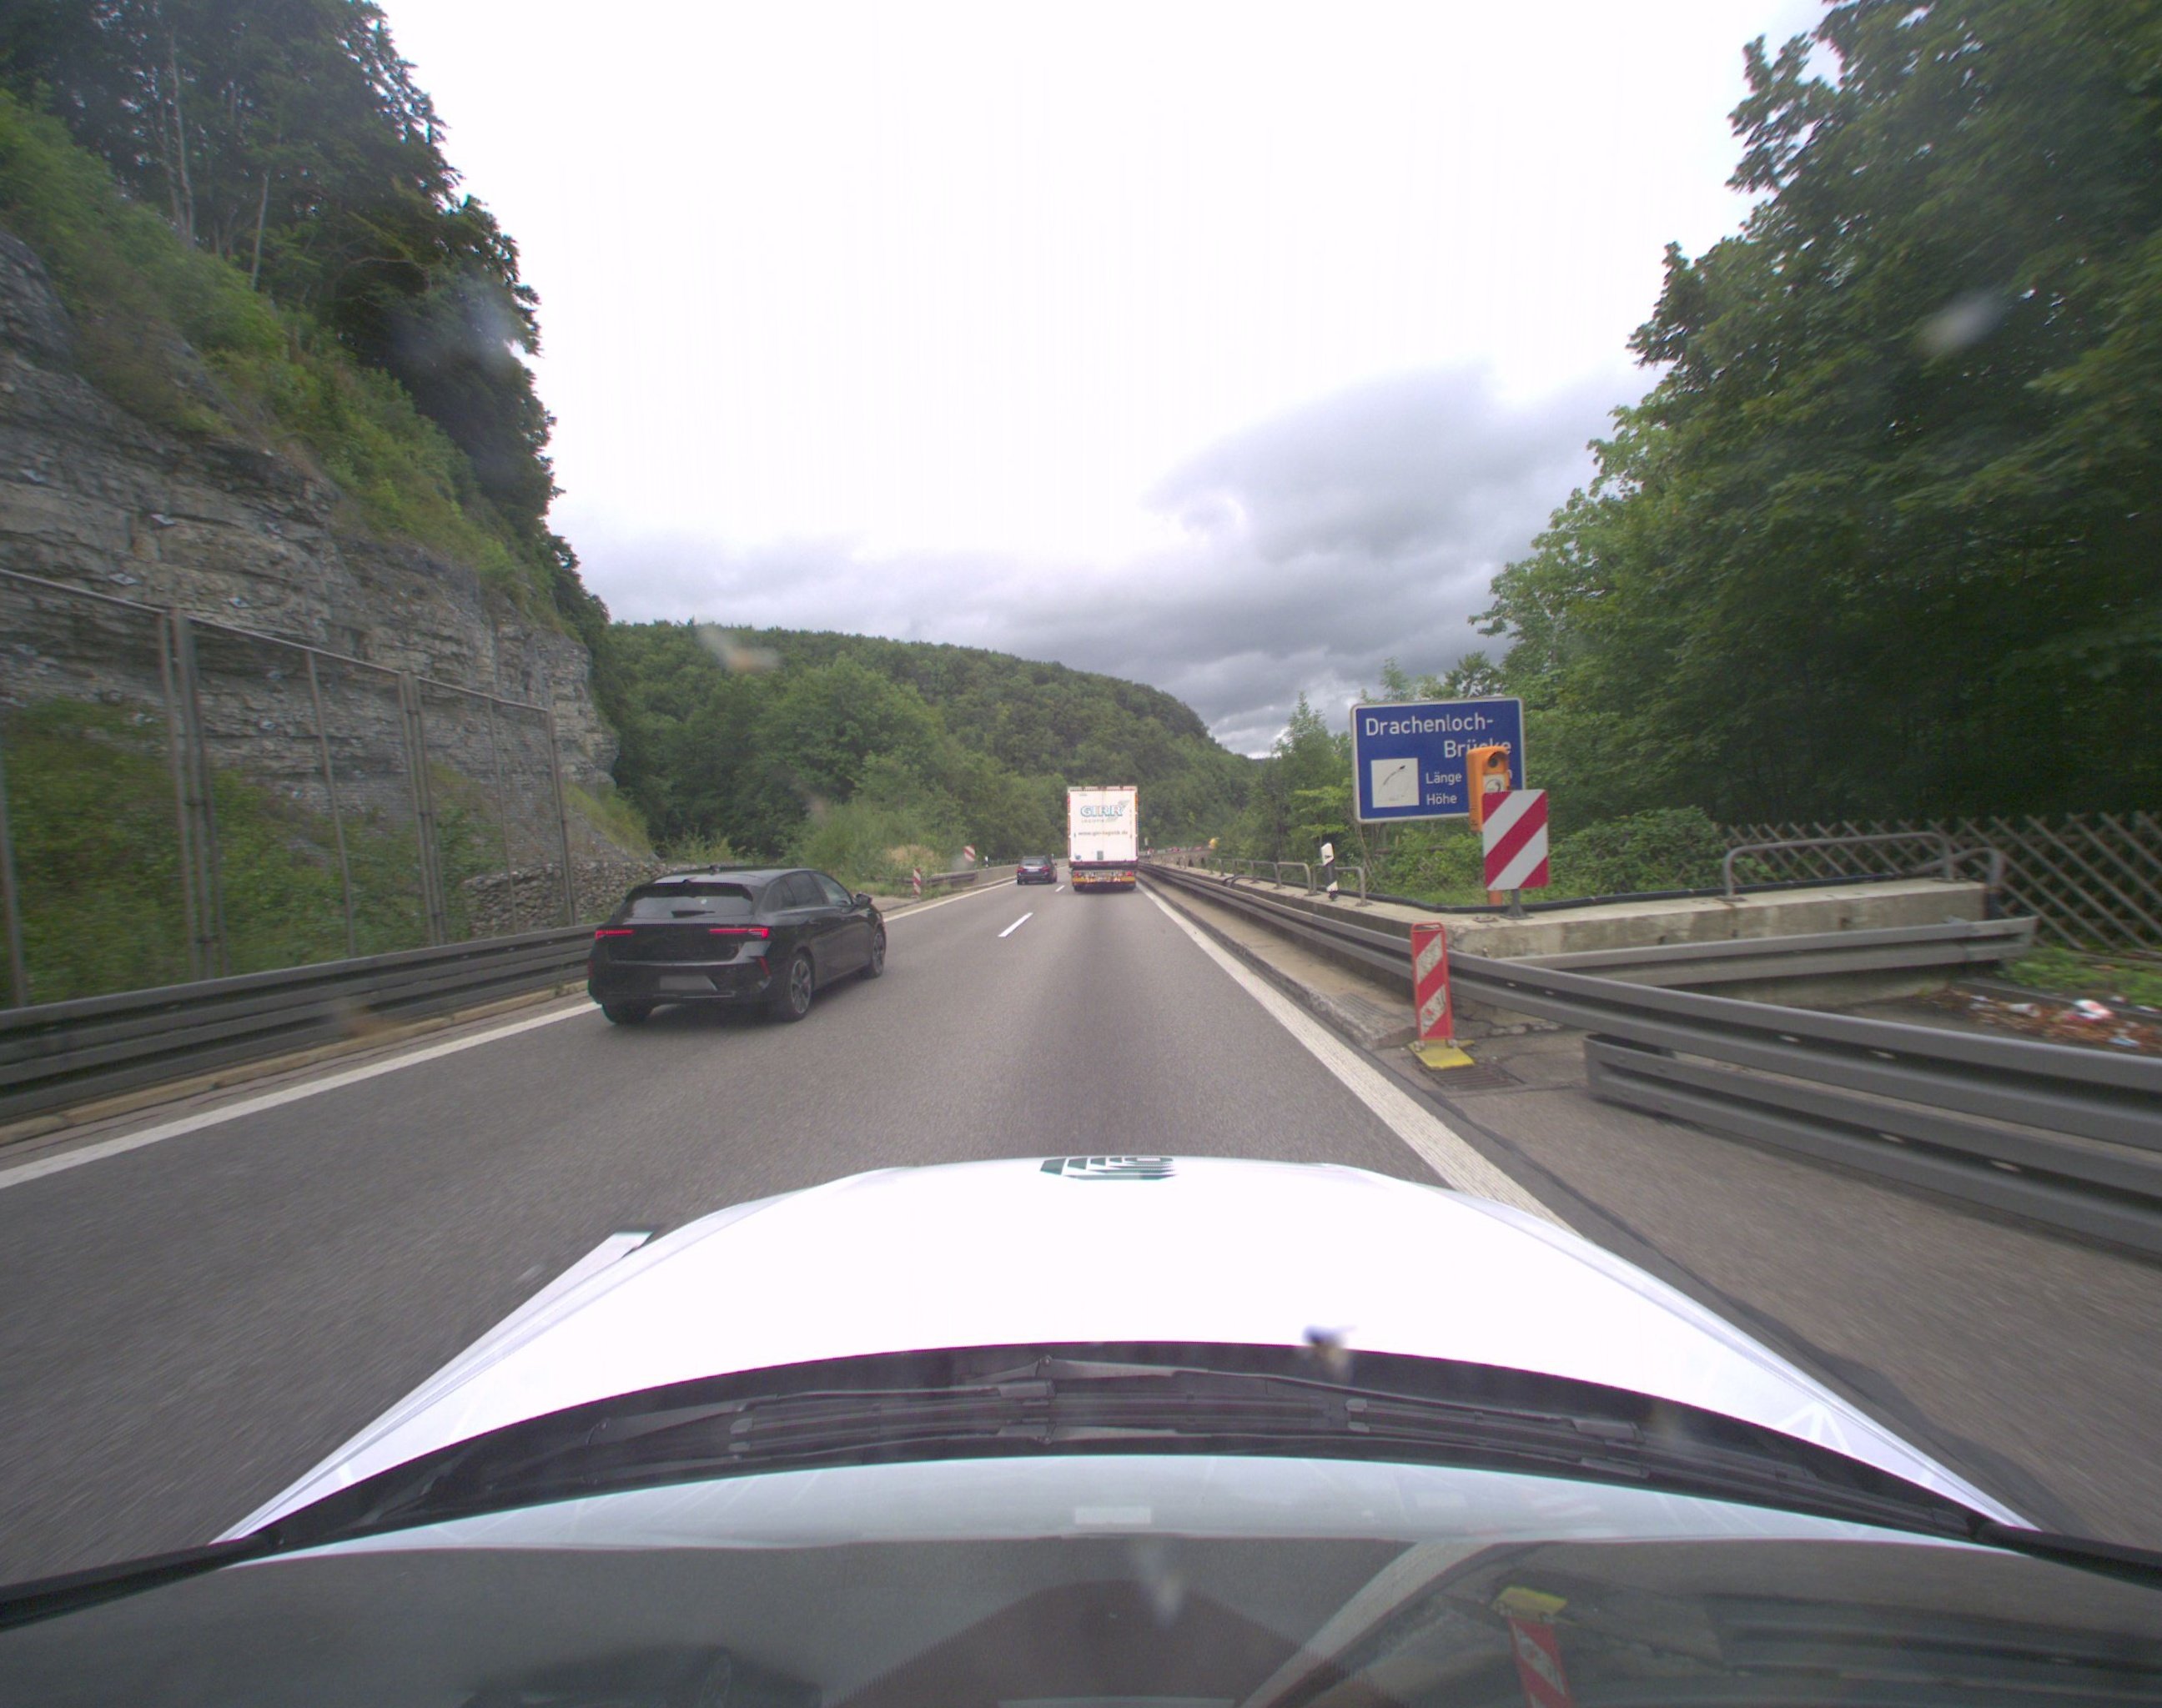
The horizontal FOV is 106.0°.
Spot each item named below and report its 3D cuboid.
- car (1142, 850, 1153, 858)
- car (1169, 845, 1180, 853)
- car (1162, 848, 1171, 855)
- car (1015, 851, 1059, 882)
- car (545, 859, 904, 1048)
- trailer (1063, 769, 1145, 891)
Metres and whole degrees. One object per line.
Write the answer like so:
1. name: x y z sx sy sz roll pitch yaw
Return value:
1. car: 14.235 -0.020 173.979 1.980 1.684 4.013 -2 -1 12
2. car: 23.371 -1.241 202.821 1.978 1.794 4.018 -2 -1 17
3. car: 22.587 -0.569 214.998 1.980 1.684 4.013 -2 -1 12
4. car: -2.280 0.651 43.123 1.876 1.510 4.420 -2 -1 2
5. car: -3.423 0.832 8.966 1.766 1.461 4.584 -2 0 2
6. trailer: 1.053 -0.827 35.548 2.802 4.302 12.250 -2 -1 2
